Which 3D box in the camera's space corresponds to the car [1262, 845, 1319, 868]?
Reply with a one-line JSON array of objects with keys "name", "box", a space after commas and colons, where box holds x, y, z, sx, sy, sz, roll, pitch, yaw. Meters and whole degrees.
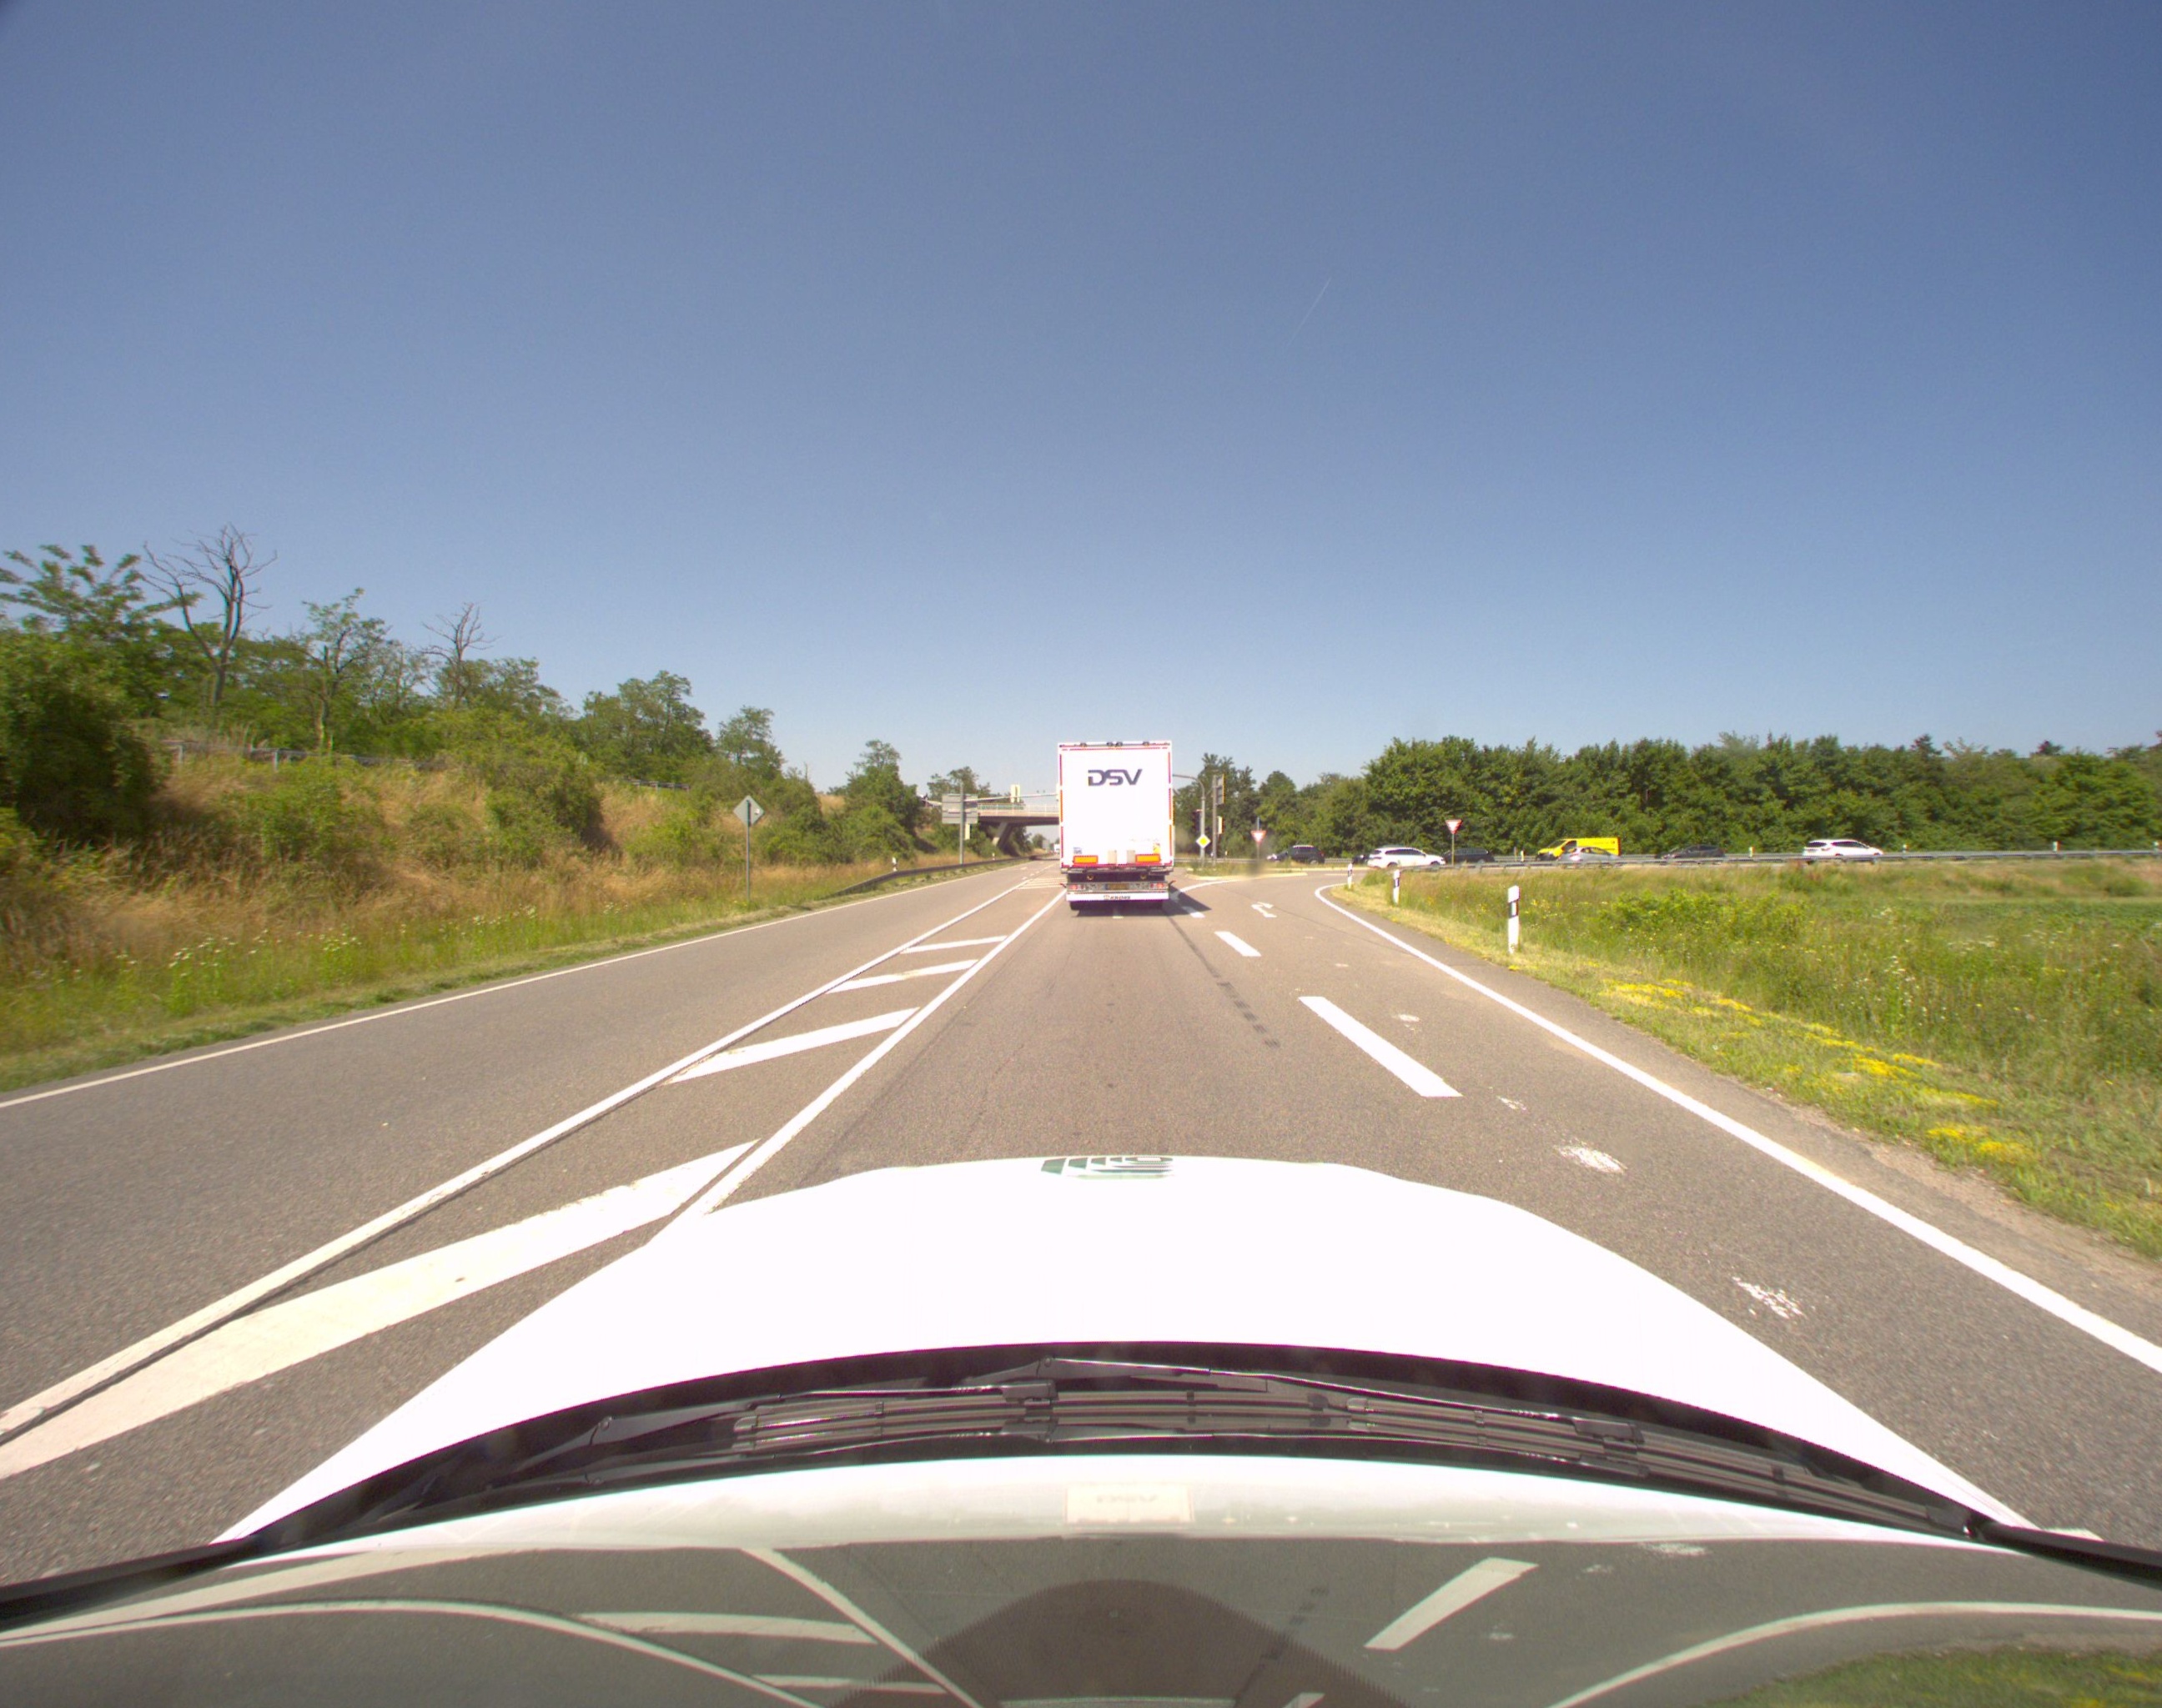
[{"name": "car", "box": [15.485, 0.196, 60.384, 3.963, 1.640, 1.845, -1, -1, 8]}]

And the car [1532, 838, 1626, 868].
[{"name": "car", "box": [34.898, -0.069, 57.163, 5.299, 2.014, 2.002, -1, -1, 3]}]

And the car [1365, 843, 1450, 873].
[{"name": "car", "box": [19.715, 0.242, 49.312, 4.455, 1.567, 1.738, -2, 0, -1]}]

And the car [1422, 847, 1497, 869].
[{"name": "car", "box": [27.485, 0.313, 59.259, 4.654, 1.514, 1.858, -1, -1, 9]}]

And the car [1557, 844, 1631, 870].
[{"name": "car", "box": [32.343, 0.214, 51.379, 3.678, 1.567, 1.735, -1, -1, -7]}]

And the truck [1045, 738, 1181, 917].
[{"name": "truck", "box": [0.904, -0.573, 23.057, 2.976, 3.942, 9.880, -1, 0, 2]}]

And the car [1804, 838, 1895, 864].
[{"name": "car", "box": [49.236, -0.182, 52.236, 4.462, 1.567, 1.736, -1, -1, -6]}]

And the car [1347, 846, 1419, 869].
[{"name": "car", "box": [21.504, 0.252, 58.103, 4.465, 1.598, 1.770, -1, -1, 5]}]

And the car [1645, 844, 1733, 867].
[{"name": "car", "box": [42.440, 0.132, 56.931, 4.660, 1.514, 1.855, -1, -1, 4]}]
